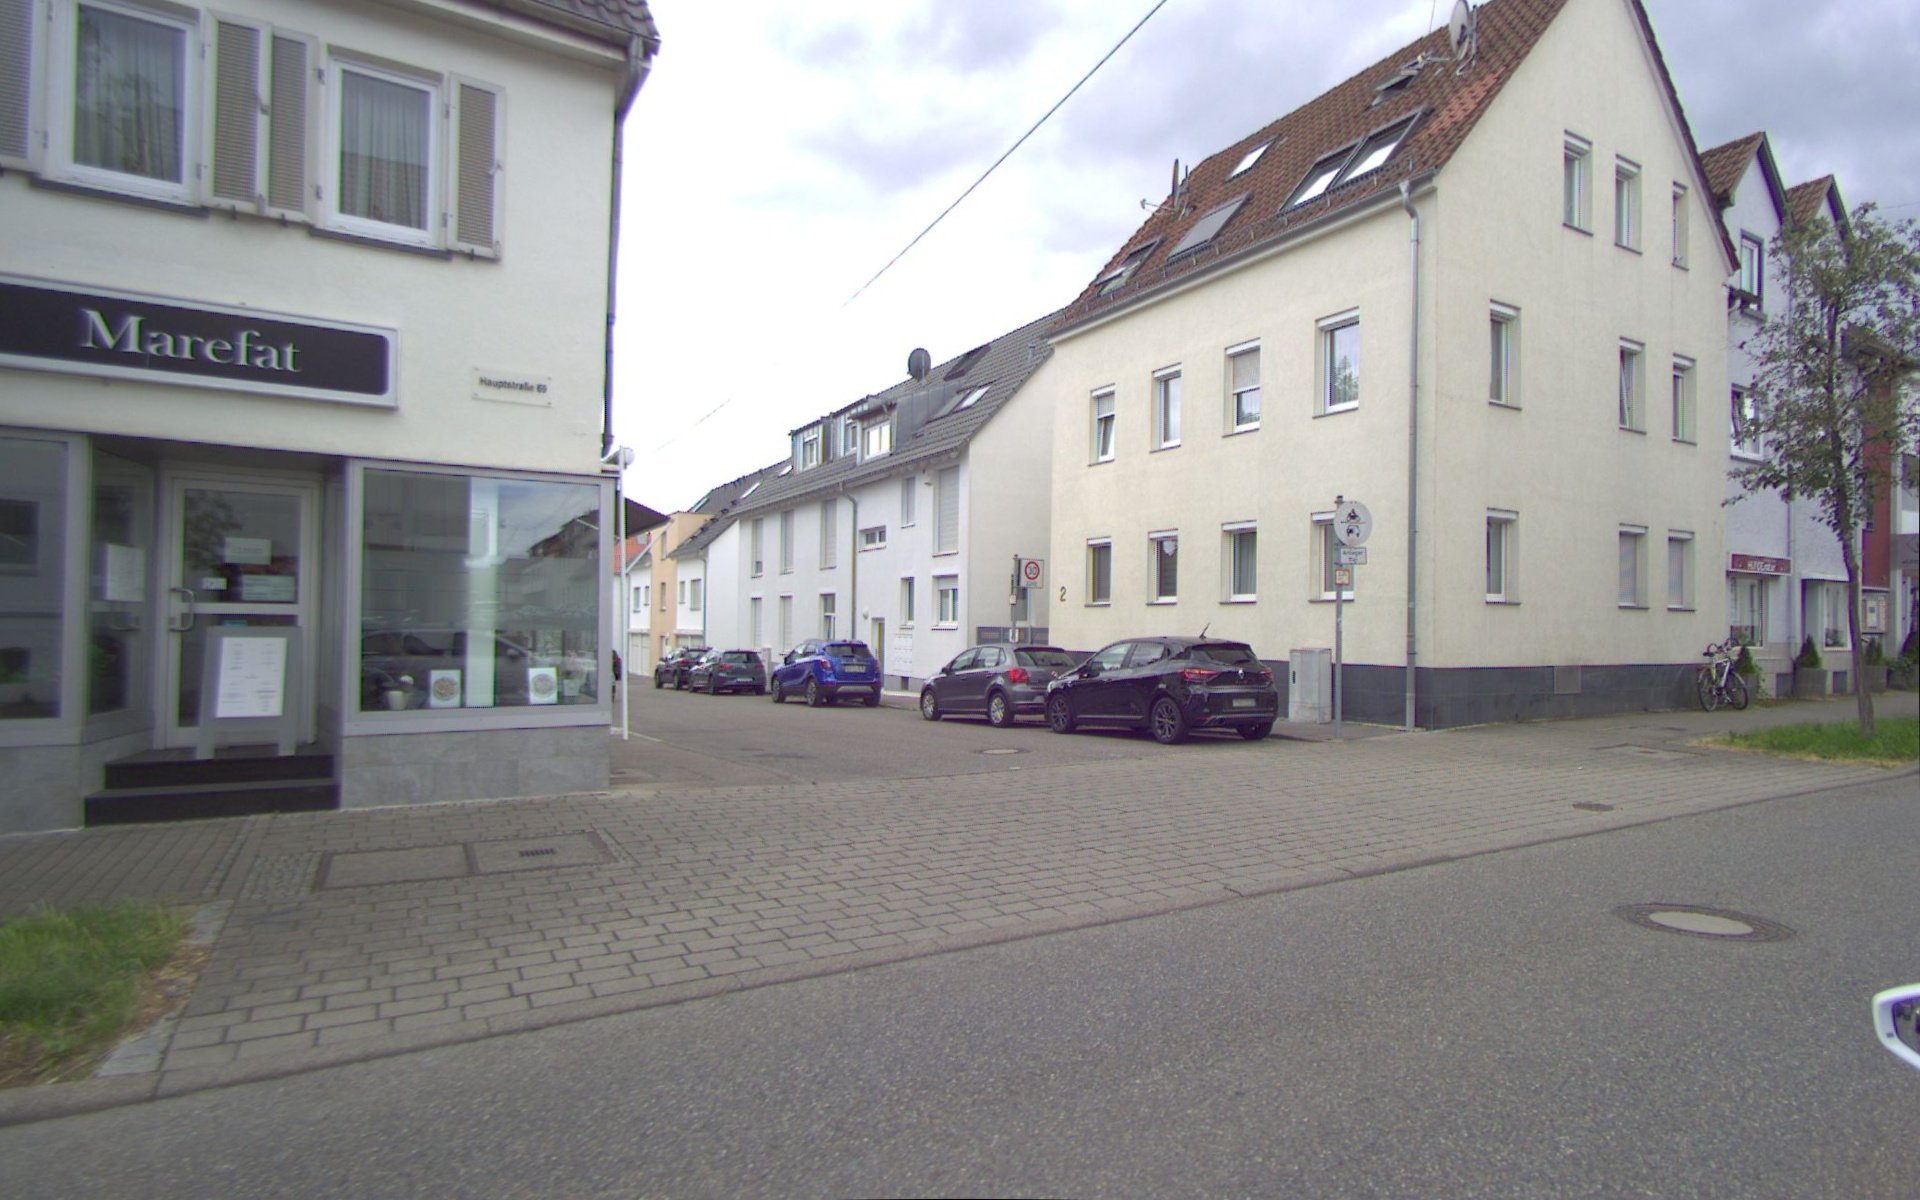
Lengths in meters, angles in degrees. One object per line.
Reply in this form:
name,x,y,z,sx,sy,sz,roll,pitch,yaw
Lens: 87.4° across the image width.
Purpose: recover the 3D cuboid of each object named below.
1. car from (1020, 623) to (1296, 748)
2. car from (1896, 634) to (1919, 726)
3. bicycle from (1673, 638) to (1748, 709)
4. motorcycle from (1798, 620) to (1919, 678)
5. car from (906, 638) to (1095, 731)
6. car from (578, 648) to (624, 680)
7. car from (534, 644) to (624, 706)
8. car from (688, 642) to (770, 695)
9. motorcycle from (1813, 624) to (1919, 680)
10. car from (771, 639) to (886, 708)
car,2.722,1.188,14.665,1.716,1.554,3.967,1,-4,-31
car,17.837,1.299,16.802,4.462,1.486,1.940,1,-3,-30
bicycle,13.075,1.254,17.491,1.648,1.169,0.511,1,0,-33
motorcycle,24.200,1.283,26.842,0.694,1.428,2.685,1,0,-39
car,0.632,1.505,18.352,1.652,1.505,3.682,1,-4,-32
car,-18.967,3.390,52.960,1.698,1.597,3.686,1,-4,-30
car,-10.625,2.055,27.878,1.789,1.597,3.686,1,-4,-30
car,-7.595,2.227,32.793,1.650,1.597,3.686,1,-4,-30
motorcycle,24.918,1.397,27.208,0.694,1.428,2.685,1,0,-39
car,-3.417,1.857,25.621,1.650,1.597,3.686,1,-4,-30
